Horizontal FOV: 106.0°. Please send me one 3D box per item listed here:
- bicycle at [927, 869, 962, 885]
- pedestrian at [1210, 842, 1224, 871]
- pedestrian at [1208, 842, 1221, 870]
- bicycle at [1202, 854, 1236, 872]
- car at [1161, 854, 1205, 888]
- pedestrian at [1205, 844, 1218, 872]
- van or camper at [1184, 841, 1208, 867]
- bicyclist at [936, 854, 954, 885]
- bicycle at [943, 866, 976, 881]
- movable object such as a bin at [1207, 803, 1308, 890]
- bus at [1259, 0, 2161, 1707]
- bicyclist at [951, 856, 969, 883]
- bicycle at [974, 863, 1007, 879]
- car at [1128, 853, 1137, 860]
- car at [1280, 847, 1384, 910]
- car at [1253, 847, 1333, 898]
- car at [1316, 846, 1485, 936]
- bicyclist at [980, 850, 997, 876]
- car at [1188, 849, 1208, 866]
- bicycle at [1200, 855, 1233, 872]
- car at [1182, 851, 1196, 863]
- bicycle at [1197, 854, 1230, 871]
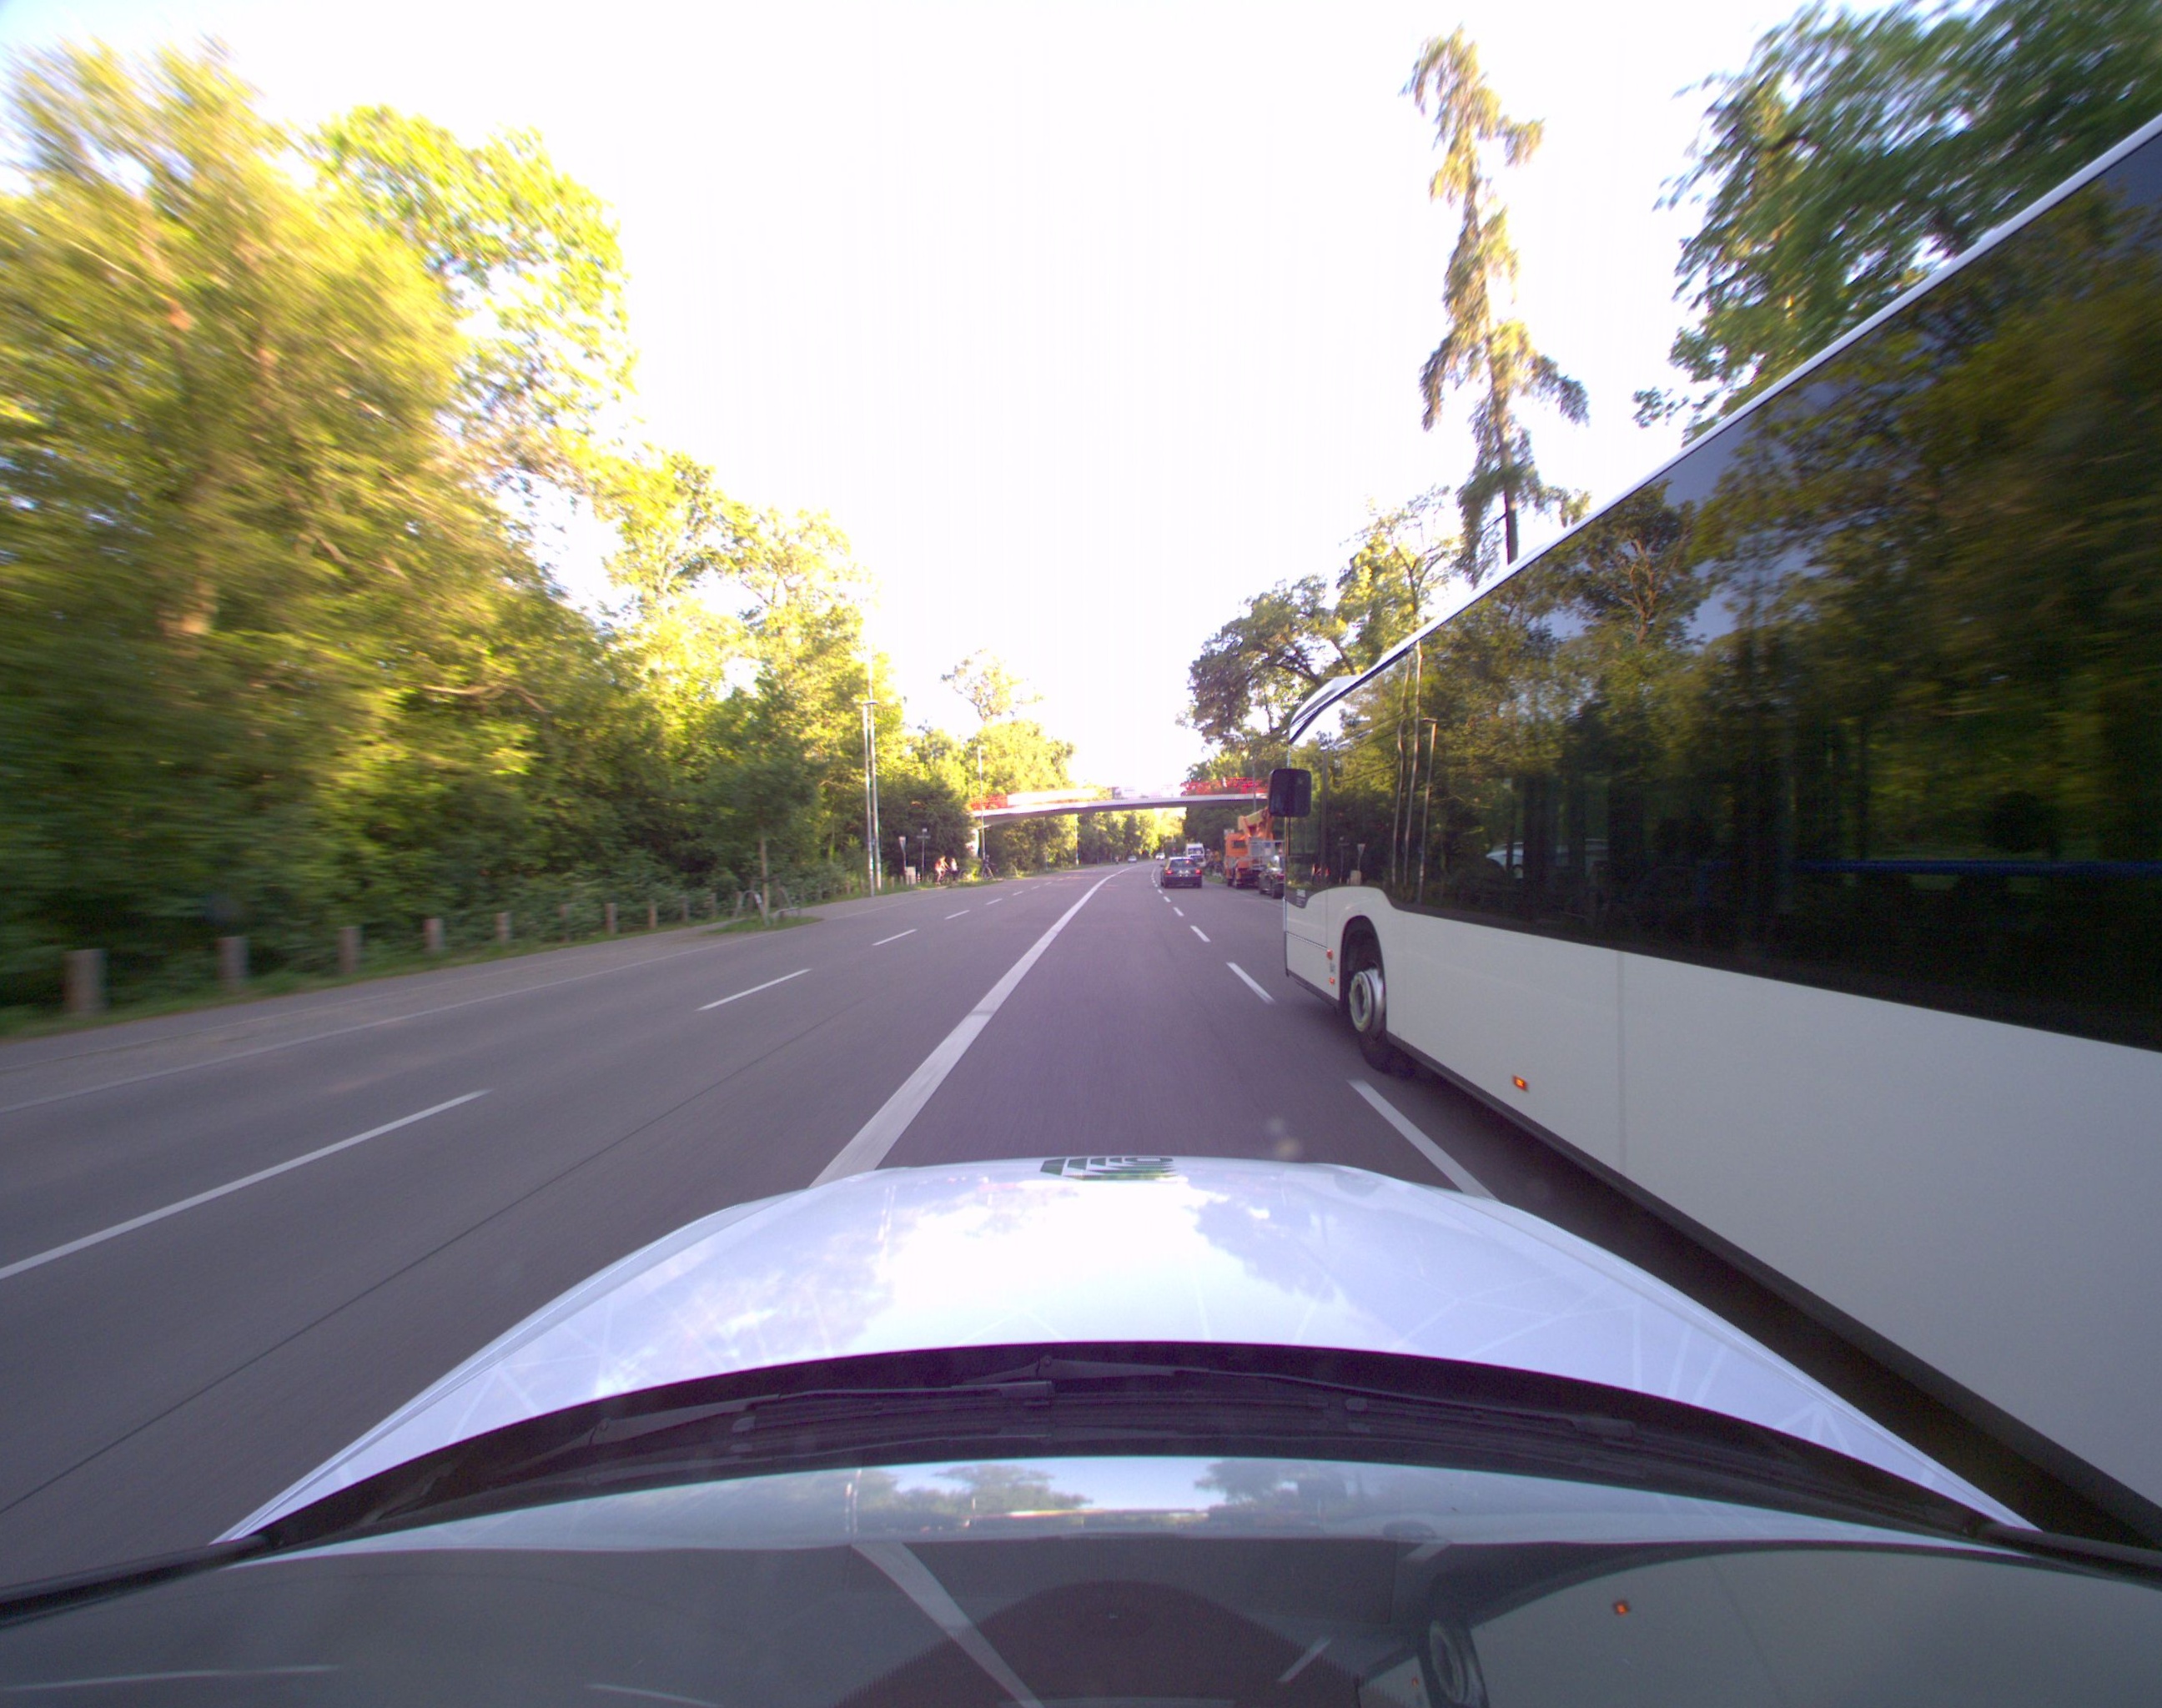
[{"bbox_3d":[-8.663,1.477,51.700,1.913,0.934,0.827,-3,0,13],"label":"bicycle"},{"bbox_3d":[8.945,0.179,53.664,0.697,1.852,0.939,-2,0,0],"label":"pedestrian"},{"bbox_3d":[8.970,0.146,54.647,0.697,1.852,0.939,-2,0,0],"label":"pedestrian"},{"bbox_3d":[9.064,0.590,53.647,2.055,1.068,0.870,-2,0,0],"label":"bicycle"},{"bbox_3d":[4.666,0.758,37.826,1.720,1.441,4.093,-2,0,3],"label":"car"},{"bbox_3d":[8.946,0.253,55.762,0.697,1.852,0.939,-2,0,0],"label":"pedestrian"},{"bbox_3d":[12.091,-0.032,86.067,2.109,2.517,5.988,-2,0,5],"label":"van or camper"},{"bbox_3d":[-8.643,0.973,51.702,0.790,1.901,0.820,-2,0,13],"label":"bicyclist"},{"bbox_3d":[-7.873,1.259,52.855,1.913,0.934,0.827,-2,0,13],"label":"bicycle"},{"bbox_3d":[7.607,-0.317,36.258,2.750,3.370,7.599,-2,0,0],"label":"movable object such as a bin"},{"bbox_3d":[3.138,-0.166,2.956,2.694,3.222,12.285,-1,0,2],"label":"bus"},{"bbox_3d":[-7.873,0.987,52.859,0.790,1.697,0.949,-2,0,13],"label":"bicyclist"},{"bbox_3d":[-5.782,1.075,52.068,1.913,0.934,0.827,-2,0,13],"label":"bicycle"},{"bbox_3d":[10.785,0.449,171.832,1.673,1.407,3.896,-3,0,6],"label":"car"},{"bbox_3d":[6.961,0.630,23.048,1.721,1.574,4.090,-2,0,1],"label":"car"},{"bbox_3d":[7.158,0.576,27.858,1.721,1.574,4.090,-2,0,1],"label":"car"},{"bbox_3d":[6.458,0.677,17.060,1.832,1.574,4.460,-2,0,1],"label":"car"},{"bbox_3d":[-5.897,0.564,52.103,0.790,1.643,0.844,-2,0,13],"label":"bicyclist"},{"bbox_3d":[10.748,0.310,74.893,1.713,1.496,3.783,-2,0,8],"label":"car"},{"bbox_3d":[9.078,0.652,54.606,2.055,1.068,0.870,-2,0,0],"label":"bicycle"},{"bbox_3d":[14.757,0.360,111.336,1.718,1.441,4.110,-4,-1,8],"label":"car"},{"bbox_3d":[9.073,0.594,55.745,2.055,1.068,0.870,-2,0,0],"label":"bicycle"}]
